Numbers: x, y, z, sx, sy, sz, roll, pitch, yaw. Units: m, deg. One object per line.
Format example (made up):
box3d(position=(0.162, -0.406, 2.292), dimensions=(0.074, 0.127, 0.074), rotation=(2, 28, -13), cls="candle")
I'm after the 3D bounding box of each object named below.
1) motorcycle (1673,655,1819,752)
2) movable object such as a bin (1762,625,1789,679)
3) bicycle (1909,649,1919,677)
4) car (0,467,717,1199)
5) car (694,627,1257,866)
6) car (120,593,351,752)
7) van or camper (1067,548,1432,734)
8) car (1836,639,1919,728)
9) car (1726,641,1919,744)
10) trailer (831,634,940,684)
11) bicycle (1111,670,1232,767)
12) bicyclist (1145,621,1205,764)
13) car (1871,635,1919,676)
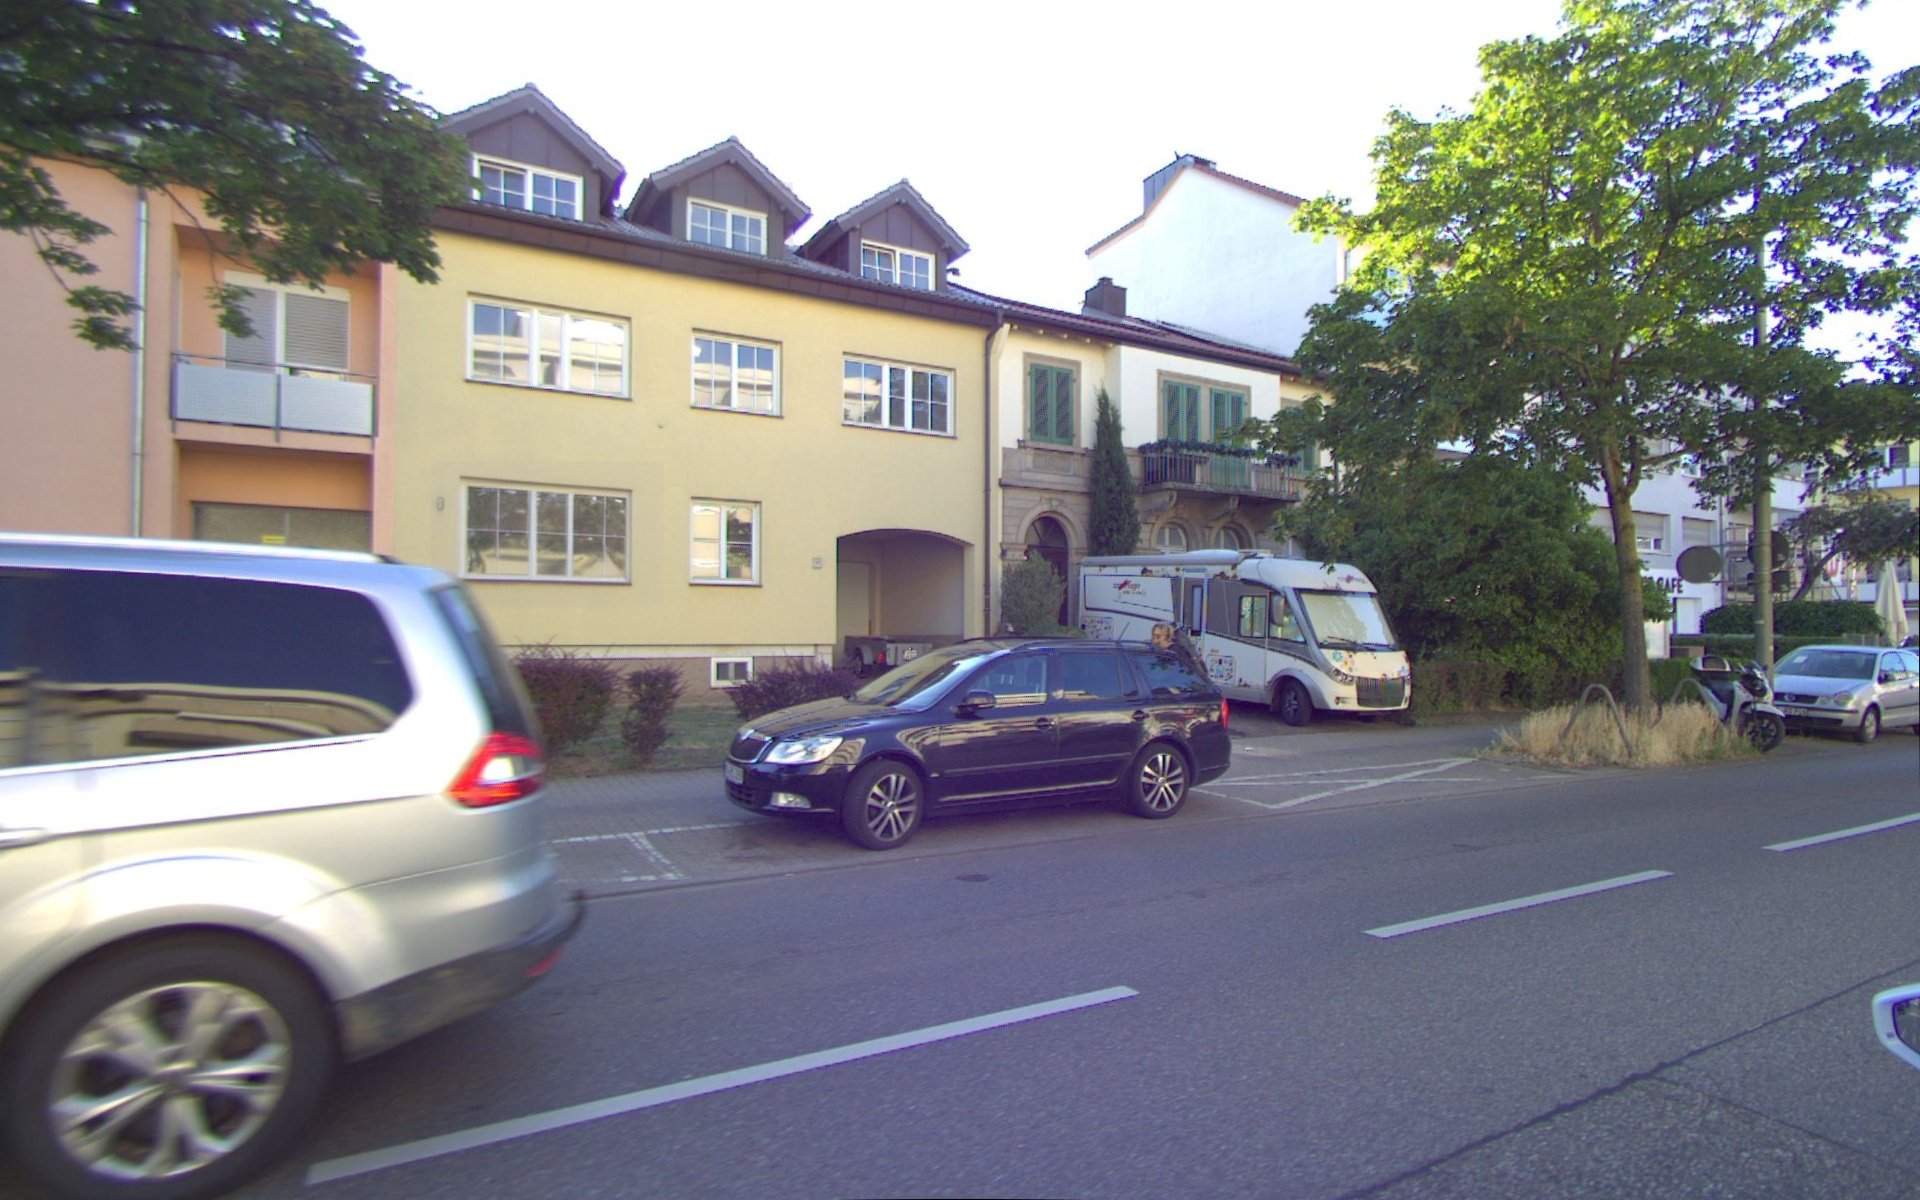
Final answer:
box3d(position=(11.501, 1.476, 14.803), dimensions=(0.751, 1.281, 2.056), rotation=(0, -2, 8), cls="motorcycle")
box3d(position=(22.047, 1.389, 27.161), dimensions=(0.569, 1.446, 0.390), rotation=(1, -2, -32), cls="movable object such as a bin")
box3d(position=(39.106, 2.522, 39.947), dimensions=(0.713, 1.085, 1.885), rotation=(2, -3, -38), cls="bicycle")
box3d(position=(-3.238, 0.633, 2.784), dimensions=(4.691, 1.828, 1.797), rotation=(2, -4, -31), cls="car")
box3d(position=(0.218, 1.033, 8.524), dimensions=(4.464, 1.514, 1.859), rotation=(1, 0, -30), cls="car")
box3d(position=(-8.982, 0.772, 12.799), dimensions=(1.843, 1.657, 3.970), rotation=(1, 0, -28), cls="car")
box3d(position=(4.962, 0.595, 18.673), dimensions=(2.325, 2.810, 6.764), rotation=(1, 0, -30), cls="van or camper")
box3d(position=(18.538, 1.545, 19.101), dimensions=(4.025, 1.538, 1.641), rotation=(1, -1, -30), cls="car")
box3d(position=(14.653, 1.467, 16.812), dimensions=(3.758, 1.490, 1.586), rotation=(1, 0, -30), cls="car")
box3d(position=(-1.745, 1.321, 23.061), dimensions=(1.608, 0.973, 2.393), rotation=(1, 1, -30), cls="trailer")
box3d(position=(2.572, 1.403, 12.153), dimensions=(1.516, 1.078, 0.484), rotation=(1, -2, -31), cls="bicycle")
box3d(position=(2.603, 1.101, 12.168), dimensions=(0.546, 1.685, 0.466), rotation=(1, -2, -31), cls="bicyclist")
box3d(position=(44.383, 2.493, 45.238), dimensions=(1.840, 1.835, 4.613), rotation=(1, -2, -30), cls="car")
